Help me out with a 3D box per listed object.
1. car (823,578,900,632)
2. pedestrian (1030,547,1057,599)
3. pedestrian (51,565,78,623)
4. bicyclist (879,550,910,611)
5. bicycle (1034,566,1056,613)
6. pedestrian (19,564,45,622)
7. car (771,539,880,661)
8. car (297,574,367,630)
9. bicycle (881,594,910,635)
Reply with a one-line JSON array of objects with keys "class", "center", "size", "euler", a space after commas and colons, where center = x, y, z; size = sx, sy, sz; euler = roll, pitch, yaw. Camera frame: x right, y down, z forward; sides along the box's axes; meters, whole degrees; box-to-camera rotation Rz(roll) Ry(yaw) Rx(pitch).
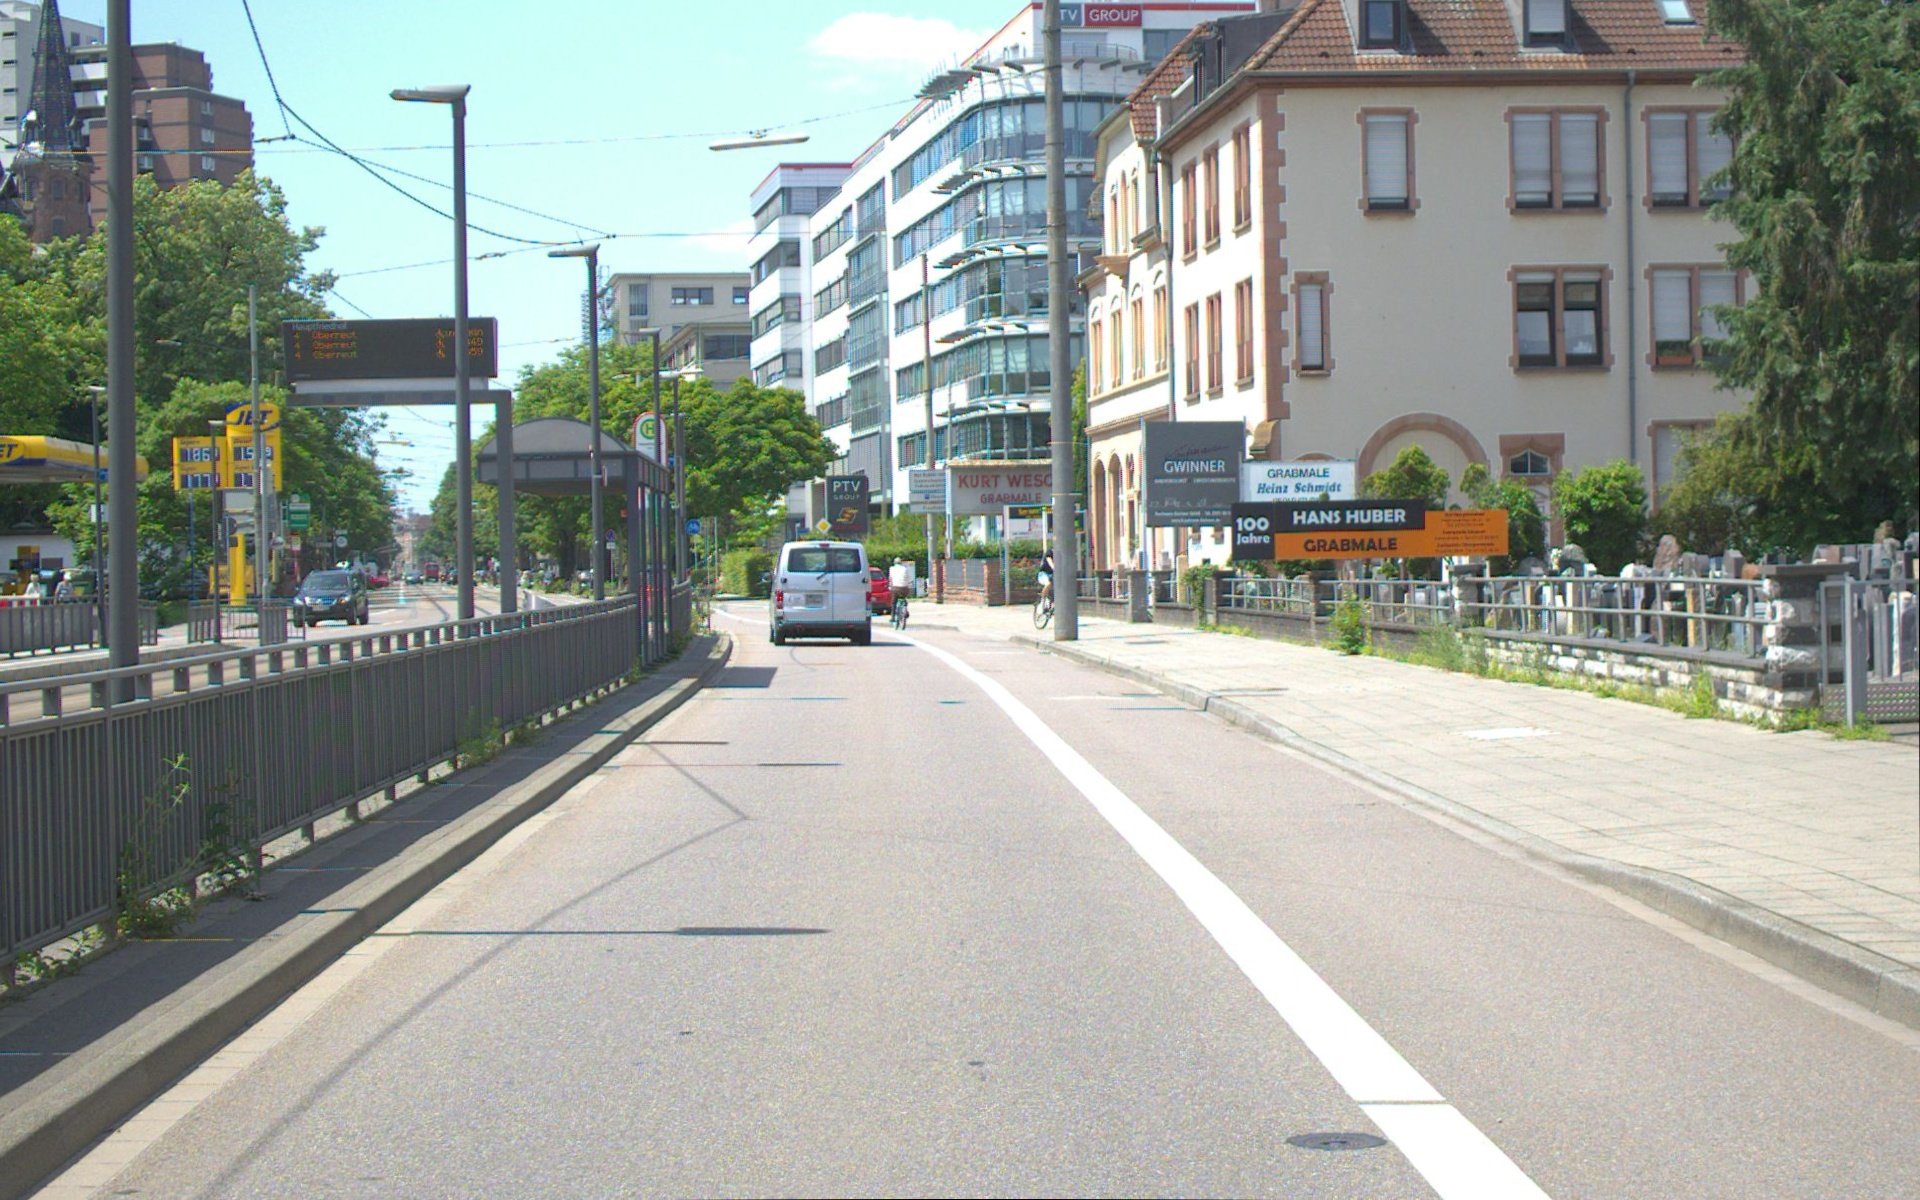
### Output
[{"class": "car", "center": [-2.967, 0.140, 102.799], "size": [1.711, 1.448, 4.073], "euler": [-3, 1, -9]}, {"class": "pedestrian", "center": [1.751, -0.562, 72.074], "size": [0.483, 1.050, 0.537], "euler": [-3, 0, 0]}, {"class": "pedestrian", "center": [-26.063, -0.186, 100.048], "size": [0.580, 1.665, 0.667], "euler": [-1, 0, -1]}, {"class": "bicyclist", "center": [-1.495, -0.449, 78.419], "size": [0.591, 1.392, 0.842], "euler": [-1, 1, -7]}, {"class": "bicycle", "center": [1.774, -0.217, 72.043], "size": [0.356, 0.937, 1.317], "euler": [-3, 0, 0]}, {"class": "pedestrian", "center": [-26.747, -0.196, 99.105], "size": [0.552, 1.652, 0.672], "euler": [-1, 1, -2]}, {"class": "car", "center": [-2.438, -0.038, 61.524], "size": [1.752, 2.006, 4.001], "euler": [-3, 2, -4]}, {"class": "car", "center": [-18.632, 0.049, 102.081], "size": [1.698, 1.610, 3.759], "euler": [-1, 0, -6]}, {"class": "bicycle", "center": [-1.486, 0.325, 78.511], "size": [0.465, 0.884, 2.048], "euler": [-1, 1, -6]}]
